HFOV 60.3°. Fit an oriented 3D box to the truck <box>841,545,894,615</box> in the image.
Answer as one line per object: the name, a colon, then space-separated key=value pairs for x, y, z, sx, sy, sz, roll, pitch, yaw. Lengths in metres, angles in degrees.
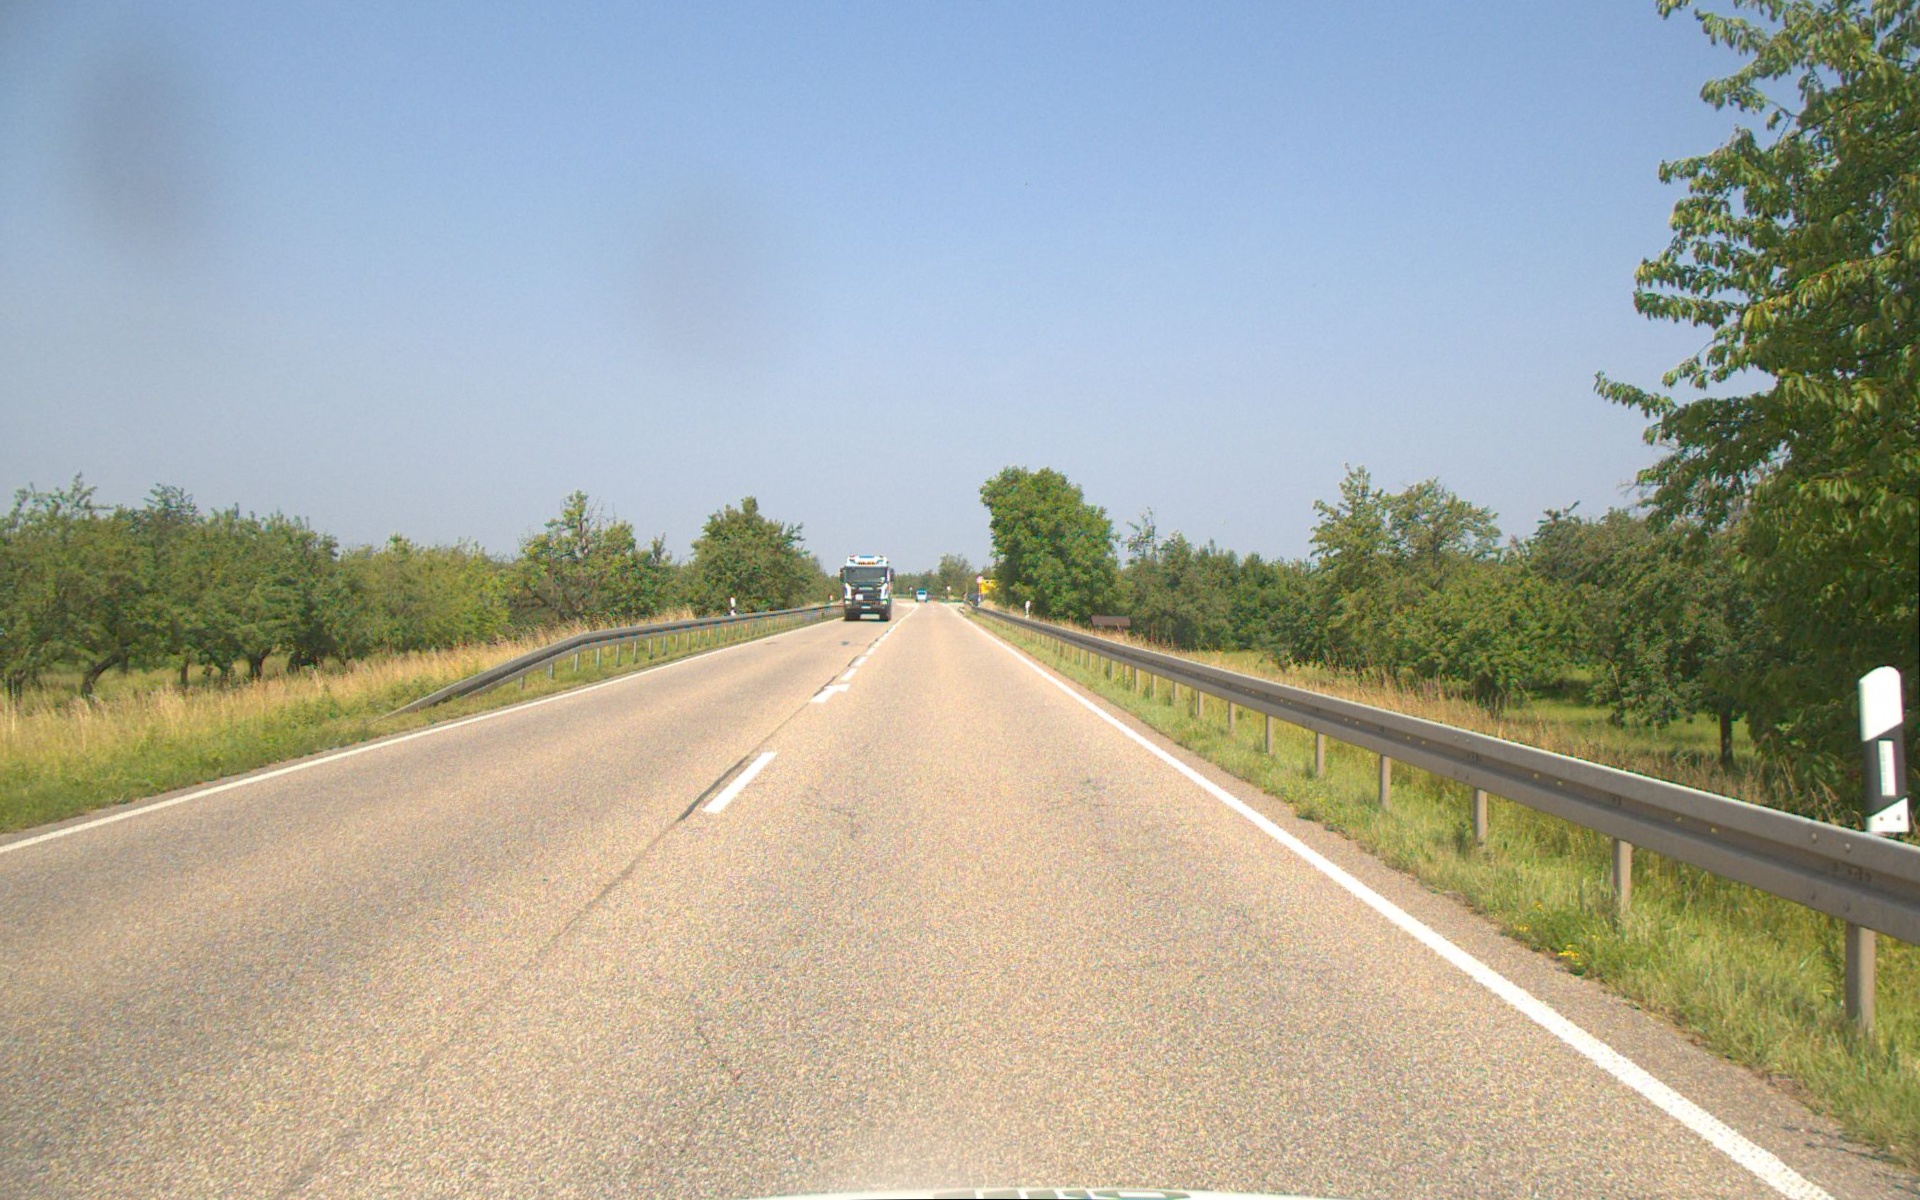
truck: x=-5.169 y=-1.047 z=93.941 sx=2.673 sy=3.736 sz=9.380 roll=0 pitch=0 yaw=-1
